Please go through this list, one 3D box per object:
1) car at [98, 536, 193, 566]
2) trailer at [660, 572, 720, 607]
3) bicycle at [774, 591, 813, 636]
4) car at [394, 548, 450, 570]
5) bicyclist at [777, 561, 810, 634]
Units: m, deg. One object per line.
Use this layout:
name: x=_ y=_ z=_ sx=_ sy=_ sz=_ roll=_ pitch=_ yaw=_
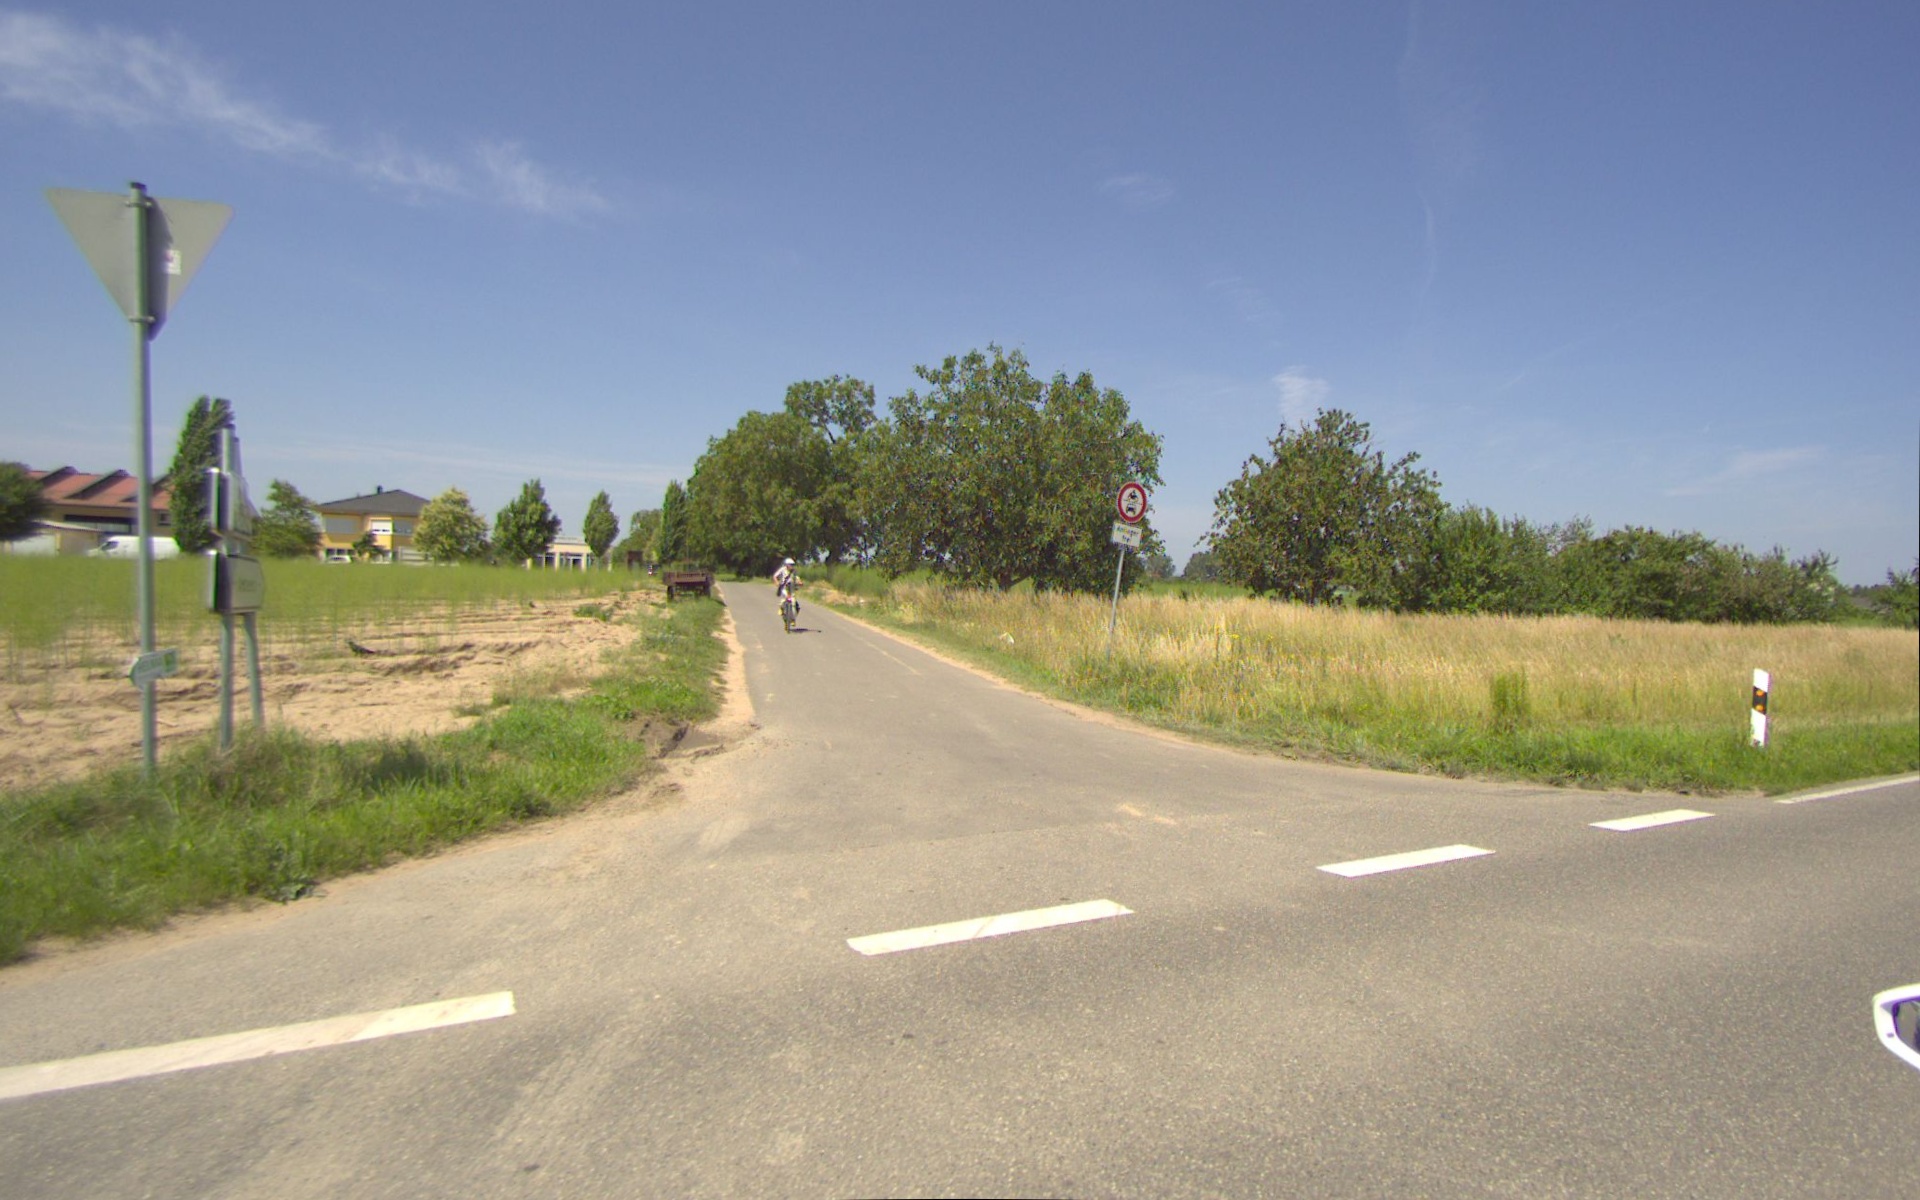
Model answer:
car: x=-63.773 y=-3.815 z=78.752 sx=5.428 sy=2.089 sz=1.860 roll=2 pitch=2 yaw=-25
trailer: x=-10.051 y=-0.377 z=37.230 sx=1.968 sy=1.154 sz=3.984 roll=2 pitch=0 yaw=-17
bicycle: x=-4.182 y=0.330 z=25.129 sx=0.671 sy=1.005 sz=1.917 roll=2 pitch=1 yaw=-18
car: x=-43.511 y=-3.333 z=81.297 sx=3.953 sy=1.559 sz=1.856 roll=2 pitch=2 yaw=-30
bicyclist: x=-4.169 y=-0.063 z=25.131 sx=0.652 sy=1.781 sz=0.699 roll=2 pitch=2 yaw=-18
